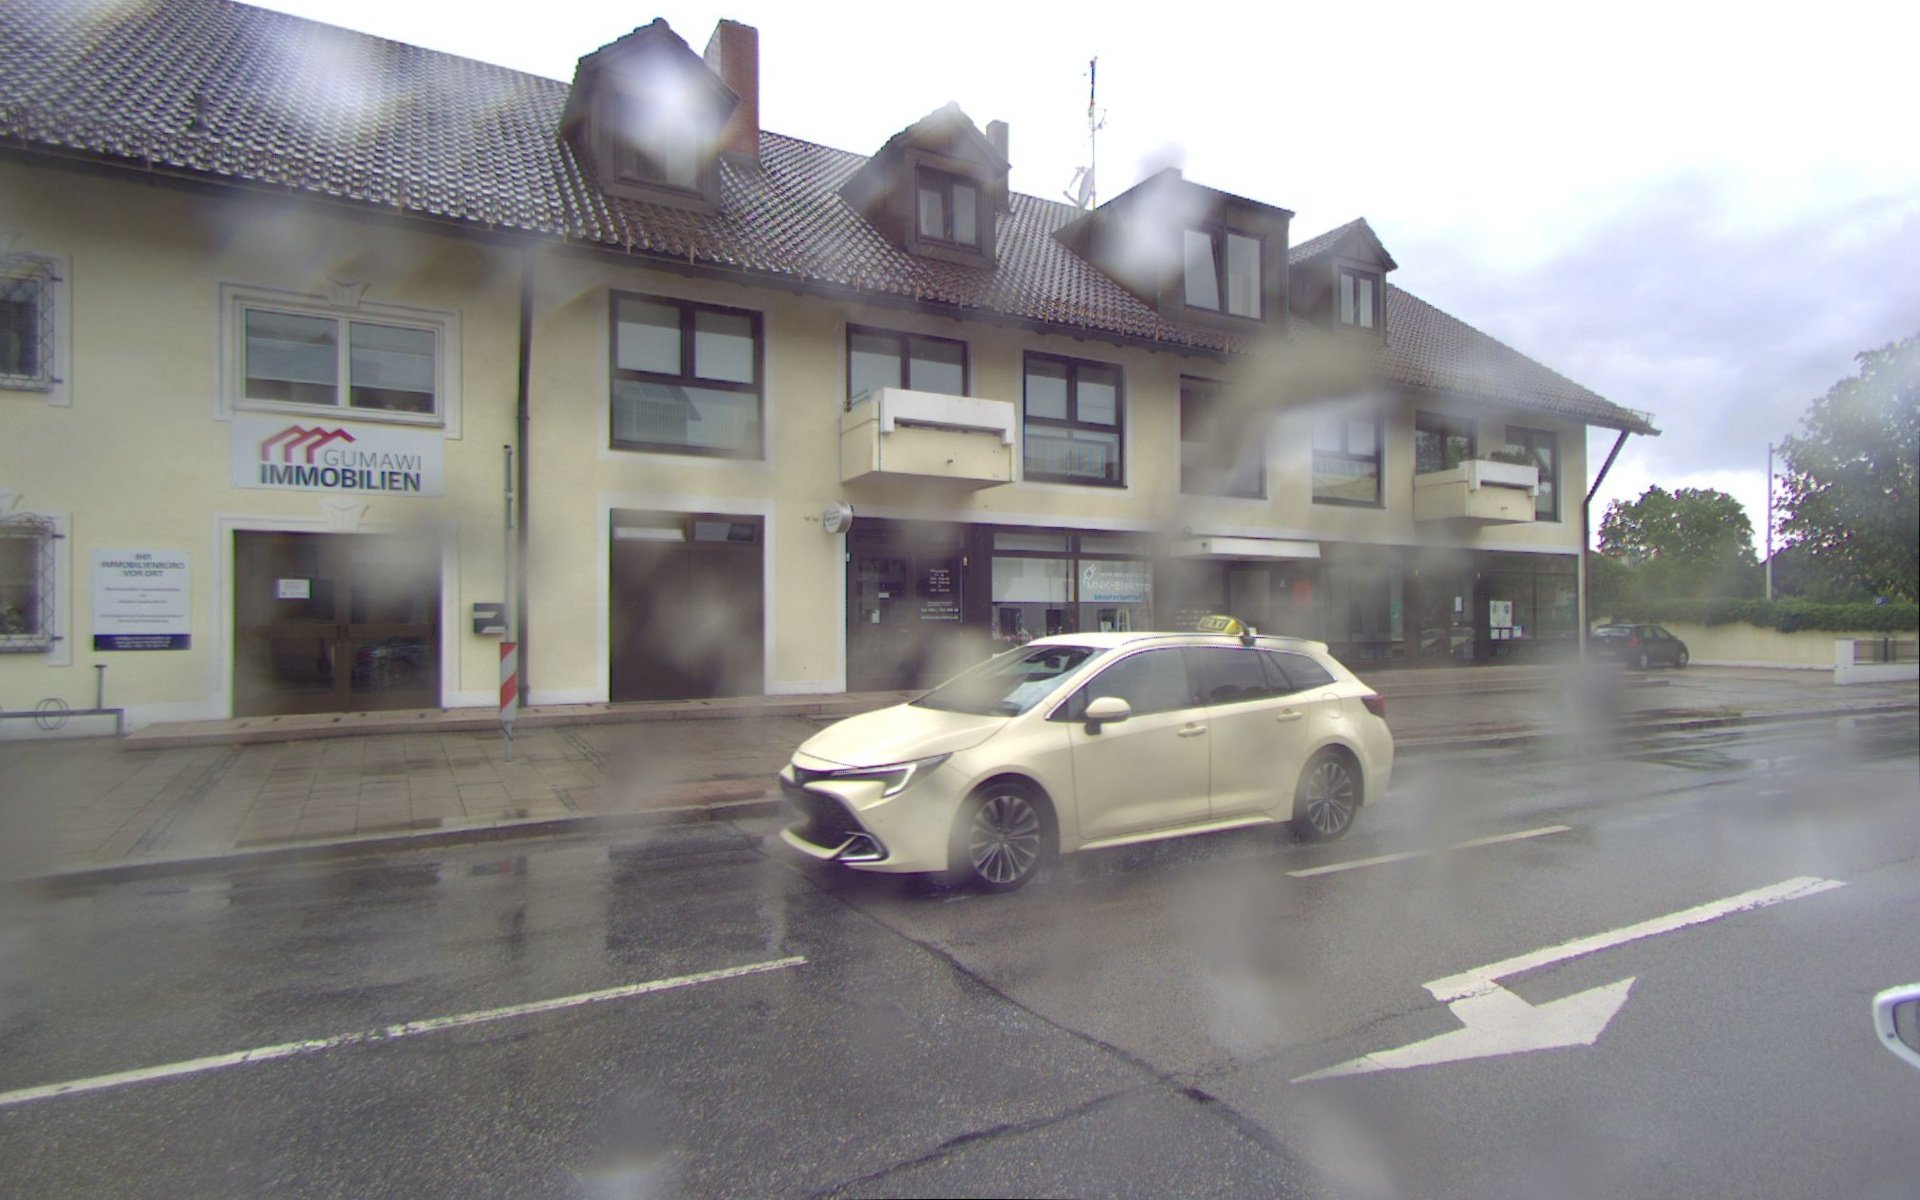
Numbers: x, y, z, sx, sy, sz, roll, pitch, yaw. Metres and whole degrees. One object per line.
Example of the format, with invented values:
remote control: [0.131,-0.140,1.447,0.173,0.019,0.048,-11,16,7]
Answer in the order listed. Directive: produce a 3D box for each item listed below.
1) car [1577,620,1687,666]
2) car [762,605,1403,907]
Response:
car: [21.627,1.374,32.300,3.468,1.398,1.599,1,-2,-31]
car: [0.920,0.856,6.912,4.179,1.531,1.745,1,-3,-29]
